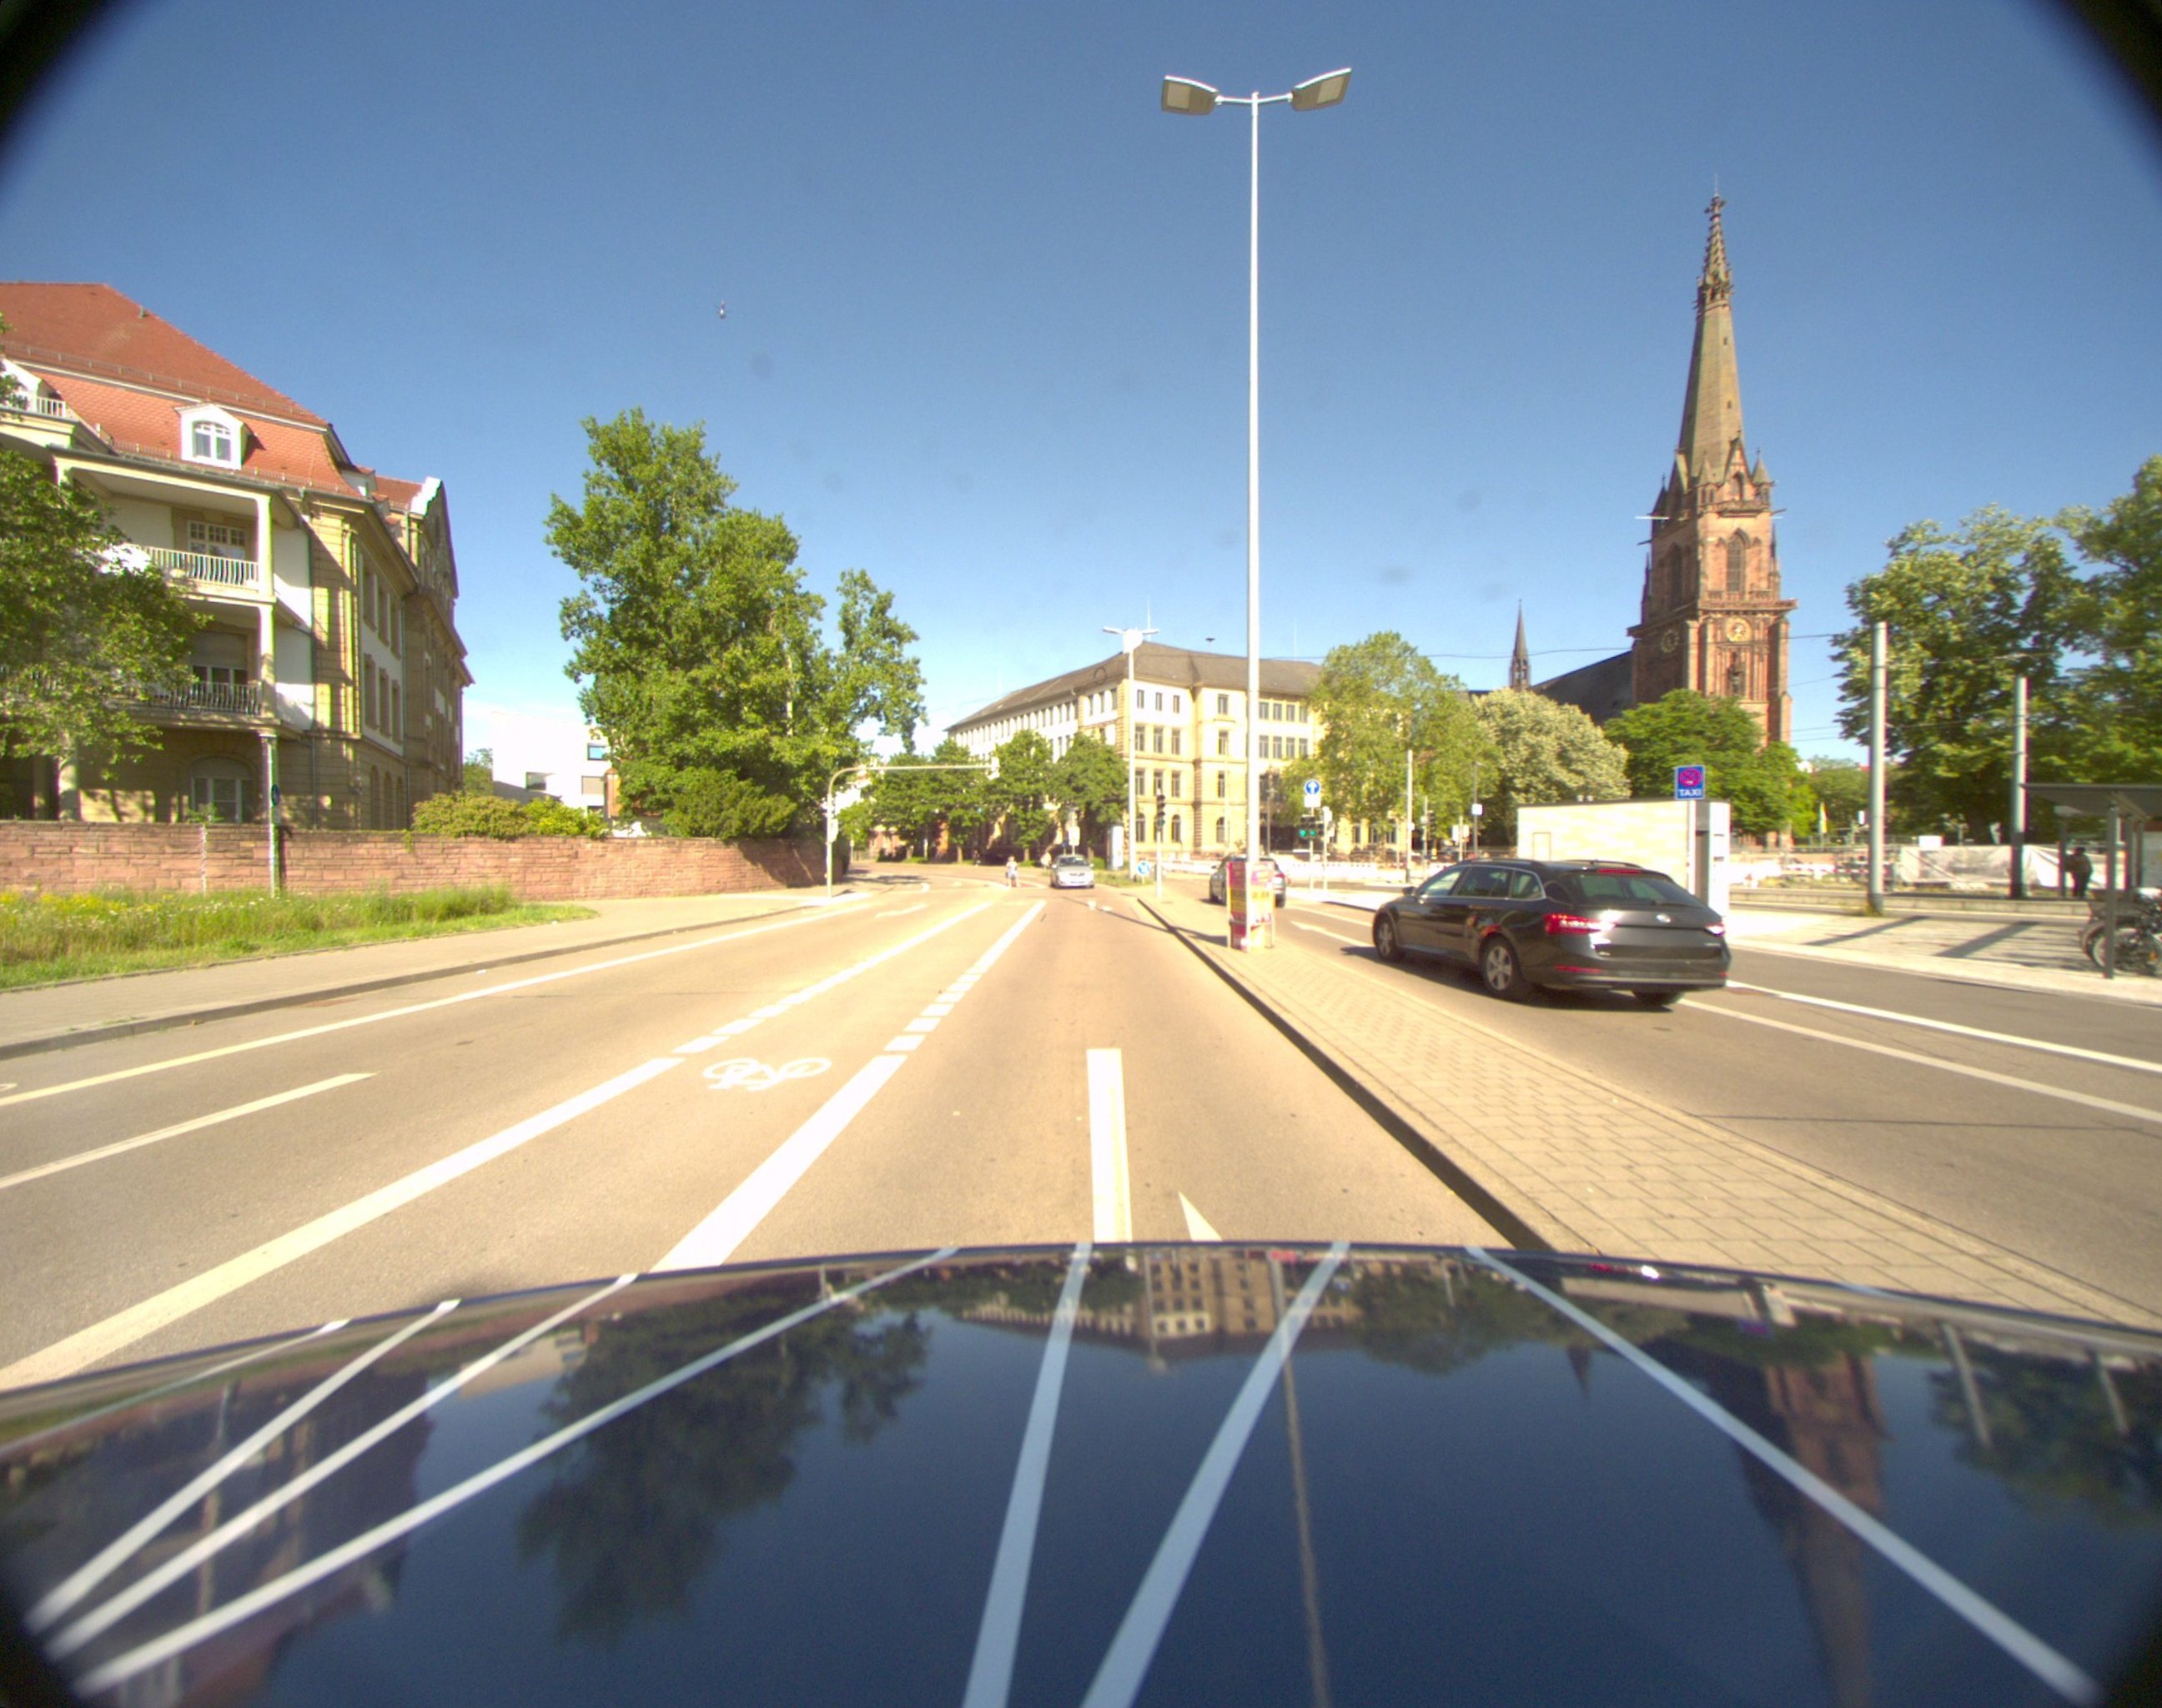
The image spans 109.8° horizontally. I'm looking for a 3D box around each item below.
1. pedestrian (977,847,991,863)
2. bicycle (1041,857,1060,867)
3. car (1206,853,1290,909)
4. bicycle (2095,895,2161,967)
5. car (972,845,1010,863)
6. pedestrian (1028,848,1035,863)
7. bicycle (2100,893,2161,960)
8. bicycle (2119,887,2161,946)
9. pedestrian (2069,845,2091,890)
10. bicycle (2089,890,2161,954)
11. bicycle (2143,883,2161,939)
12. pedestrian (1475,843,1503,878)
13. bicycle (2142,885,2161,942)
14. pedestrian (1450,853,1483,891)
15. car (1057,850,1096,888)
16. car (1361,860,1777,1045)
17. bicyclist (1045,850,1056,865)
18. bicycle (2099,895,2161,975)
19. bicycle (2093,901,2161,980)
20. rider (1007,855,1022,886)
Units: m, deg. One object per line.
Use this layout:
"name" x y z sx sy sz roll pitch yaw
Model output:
"pedestrian" -11.411 0.129 89.320 0.934 1.812 1.394 1 1 45
"bicycle" -2.930 0.778 73.391 1.830 0.985 0.735 0 1 44
"car" 5.094 0.772 23.724 1.859 1.533 4.241 1 1 3
"bicycle" 16.070 1.144 10.974 0.458 1.003 1.667 -1 1 -33
"car" -10.727 -0.035 90.760 1.994 2.002 4.721 0 1 32
"pedestrian" -5.740 0.130 87.448 0.677 1.714 0.588 -1 1 -22
"bicycle" 17.257 1.148 11.653 0.458 1.003 1.899 -1 1 -33
"bicycle" 19.124 1.099 12.946 0.458 1.003 1.667 -1 1 -33
"pedestrian" 37.569 0.500 28.575 0.404 1.711 0.419 1 1 38
"bicycle" 17.911 1.128 12.426 0.458 1.003 1.667 -1 1 -33
"bicycle" 20.485 1.064 13.608 0.458 1.003 1.667 -1 1 -33
"pedestrian" 20.777 0.342 38.685 0.977 1.769 0.803 0 1 -1
"bicycle" 19.892 1.076 13.198 0.458 1.003 1.667 -1 1 -33
"pedestrian" 17.971 0.826 35.464 0.977 1.769 1.131 0 1 -1
"car" -0.248 0.682 36.354 1.706 1.657 3.913 -1 1 -1
"car" 5.056 0.873 8.842 1.793 1.490 4.574 1 1 -1
"bicyclist" -2.945 0.339 73.400 0.893 1.377 0.735 1 1 44
"bicycle" 15.198 1.135 10.278 0.458 1.055 1.667 -1 1 -33
"bicycle" 14.696 1.172 9.963 0.458 1.003 1.667 -1 1 -33
"rider" -3.473 0.862 39.855 0.658 1.610 0.989 -1 1 1
